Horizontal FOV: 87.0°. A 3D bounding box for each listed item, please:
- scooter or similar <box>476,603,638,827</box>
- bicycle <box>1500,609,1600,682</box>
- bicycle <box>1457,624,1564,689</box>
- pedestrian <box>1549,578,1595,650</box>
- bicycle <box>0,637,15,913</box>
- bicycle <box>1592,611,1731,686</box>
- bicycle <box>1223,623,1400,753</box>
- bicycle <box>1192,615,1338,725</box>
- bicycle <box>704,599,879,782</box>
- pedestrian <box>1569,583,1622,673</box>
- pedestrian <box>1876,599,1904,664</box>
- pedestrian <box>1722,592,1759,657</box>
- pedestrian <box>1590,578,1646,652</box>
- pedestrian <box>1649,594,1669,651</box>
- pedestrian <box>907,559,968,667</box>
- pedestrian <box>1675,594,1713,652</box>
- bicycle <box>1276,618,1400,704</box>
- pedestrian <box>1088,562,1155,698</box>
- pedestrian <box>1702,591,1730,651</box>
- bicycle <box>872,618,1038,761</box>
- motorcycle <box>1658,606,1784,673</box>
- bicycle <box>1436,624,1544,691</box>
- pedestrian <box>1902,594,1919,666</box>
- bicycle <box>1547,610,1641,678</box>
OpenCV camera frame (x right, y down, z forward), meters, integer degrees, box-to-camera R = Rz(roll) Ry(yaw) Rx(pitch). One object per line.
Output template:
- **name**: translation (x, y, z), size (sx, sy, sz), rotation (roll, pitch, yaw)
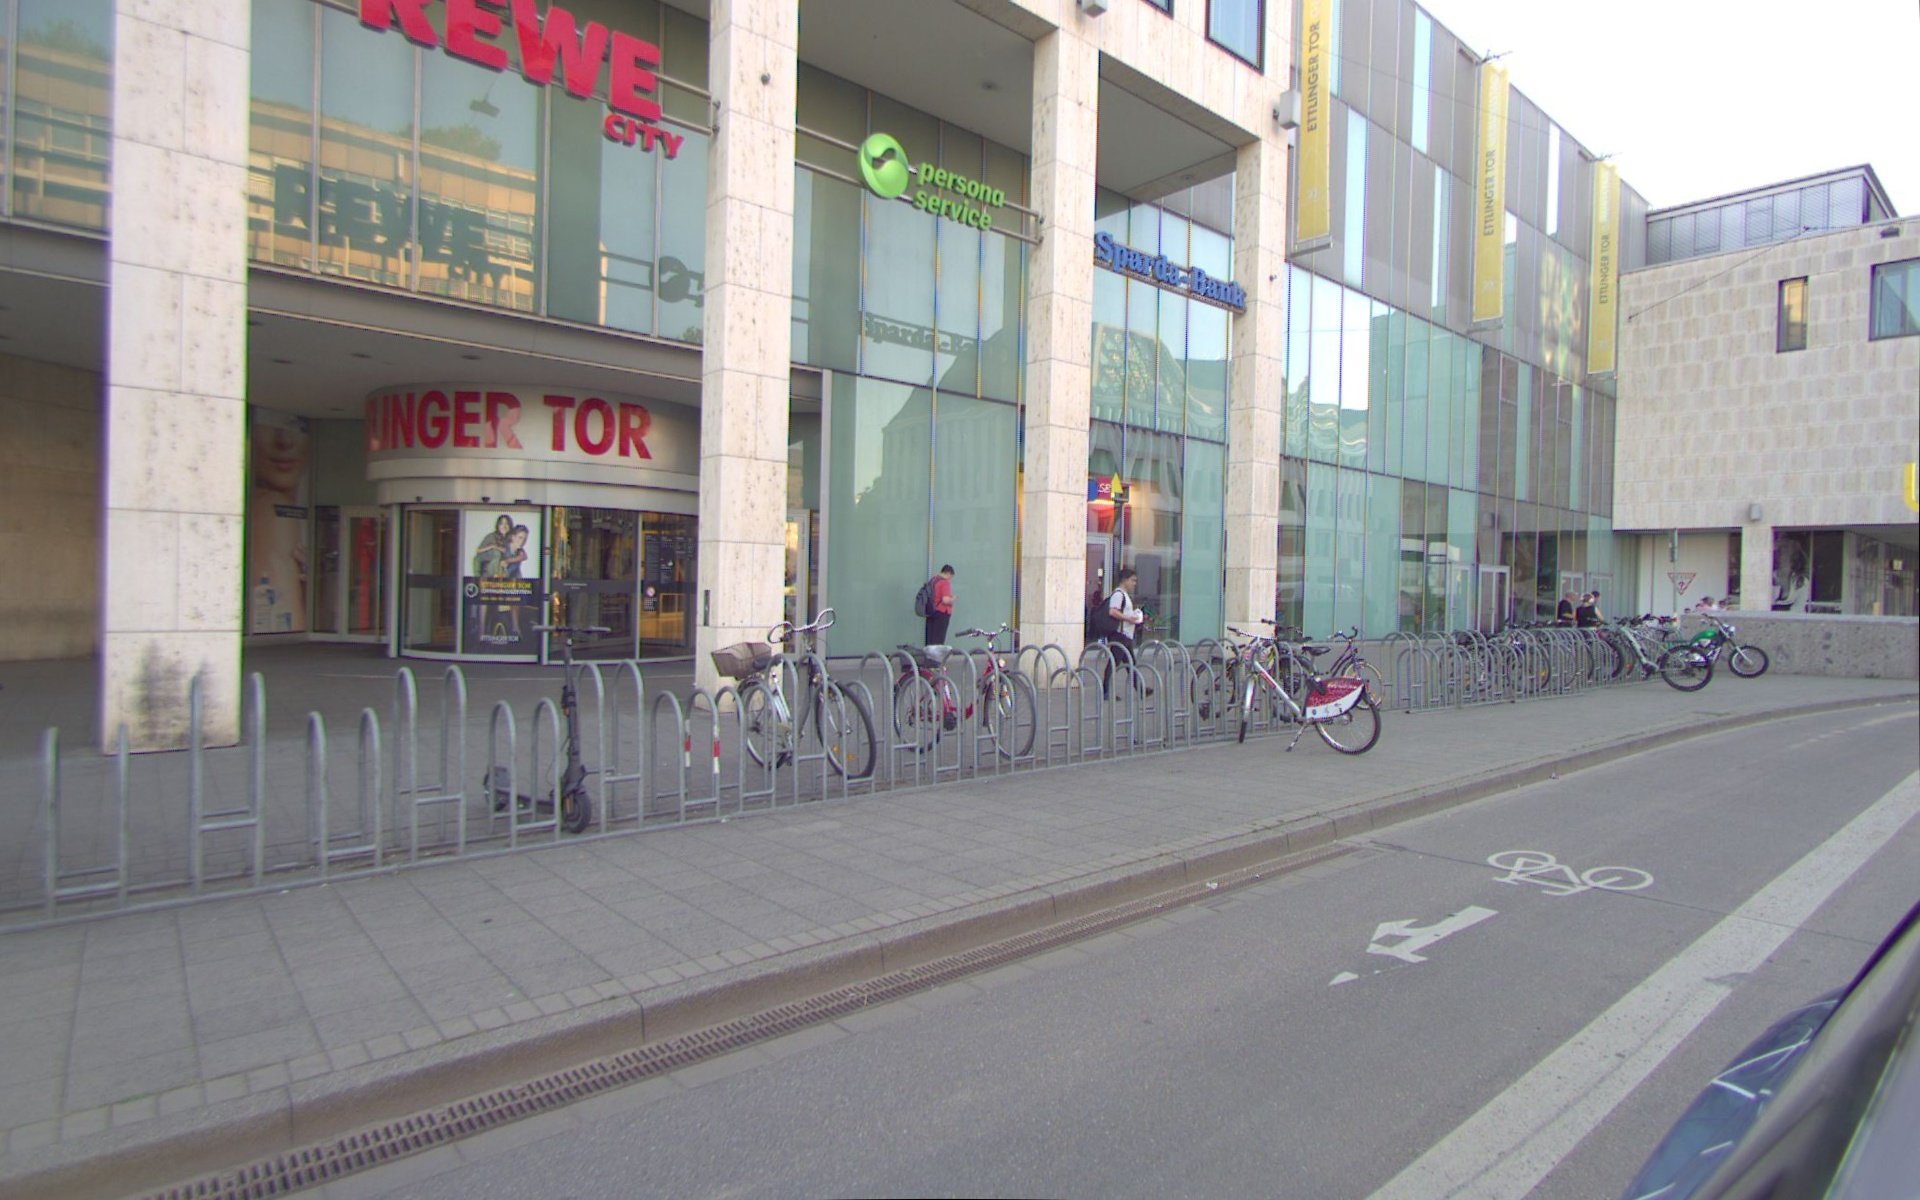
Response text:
- **scooter or similar**: translation (-2.518, 0.650, 6.273), size (0.484, 1.214, 1.194), rotation (1, 1, -44)
- **bicycle**: translation (9.832, 0.736, 16.893), size (0.509, 1.179, 1.344), rotation (1, -2, -41)
- **bicycle**: translation (8.456, 0.854, 15.583), size (0.509, 0.944, 1.344), rotation (1, -2, -41)
- **pedestrian**: translation (14.641, 0.324, 24.219), size (0.816, 1.668, 0.730), rotation (2, 1, 39)
- **bicycle**: translation (-4.715, 0.706, 4.598), size (1.768, 1.092, 0.475), rotation (3, 1, 43)
- **bicycle**: translation (11.566, 0.773, 16.742), size (0.458, 1.161, 1.837), rotation (1, -2, -39)
- **bicycle**: translation (3.171, 0.759, 9.245), size (0.458, 1.077, 1.518), rotation (1, -2, -39)
- **bicycle**: translation (3.379, 0.741, 11.308), size (0.569, 1.138, 1.519), rotation (1, -2, -36)
- **bicycle**: translation (-1.306, 0.624, 7.665), size (0.607, 1.243, 1.517), rotation (1, -2, -41)
- **pedestrian**: translation (12.236, 0.524, 19.515), size (0.802, 1.663, 0.640), rotation (2, 1, 31)
- **pedestrian**: translation (25.555, 0.852, 27.804), size (0.483, 1.765, 0.455), rotation (1, 1, -38)
- **pedestrian**: translation (22.465, 0.697, 29.122), size (0.797, 1.802, 0.619), rotation (1, 1, -38)
- **pedestrian**: translation (15.483, 0.342, 23.830), size (0.803, 1.717, 0.700), rotation (1, 1, -11)
- **pedestrian**: translation (21.756, 0.693, 31.512), size (0.444, 1.765, 0.364), rotation (1, 1, -38)
- **pedestrian**: translation (-0.362, 0.192, 16.121), size (0.695, 1.672, 0.629), rotation (1, 1, -40)
- **pedestrian**: translation (22.933, 0.716, 31.623), size (0.644, 1.765, 0.794), rotation (1, 1, -38)
- **bicycle**: translation (5.013, 0.780, 13.448), size (1.439, 1.078, 0.572), rotation (-1, -2, 39)
- **pedestrian**: translation (2.083, 0.374, 13.126), size (0.694, 1.713, 0.630), rotation (1, 0, -3)
- **pedestrian**: translation (22.896, 0.633, 30.641), size (0.644, 1.765, 0.494), rotation (1, 1, -38)
- **bicycle**: translation (-0.075, 0.712, 8.668), size (0.543, 1.120, 1.516), rotation (1, -2, -43)
- **motorcycle**: translation (15.579, 0.790, 20.764), size (0.472, 1.239, 2.004), rotation (1, 1, -43)
- **bicycle**: translation (7.945, 0.842, 15.204), size (0.509, 0.944, 1.344), rotation (1, -2, -41)
- **pedestrian**: translation (23.925, 0.751, 25.257), size (0.483, 1.765, 0.516), rotation (1, 1, -38)
- **bicycle**: translation (11.394, 0.769, 18.217), size (0.509, 1.179, 1.344), rotation (1, -2, -41)
